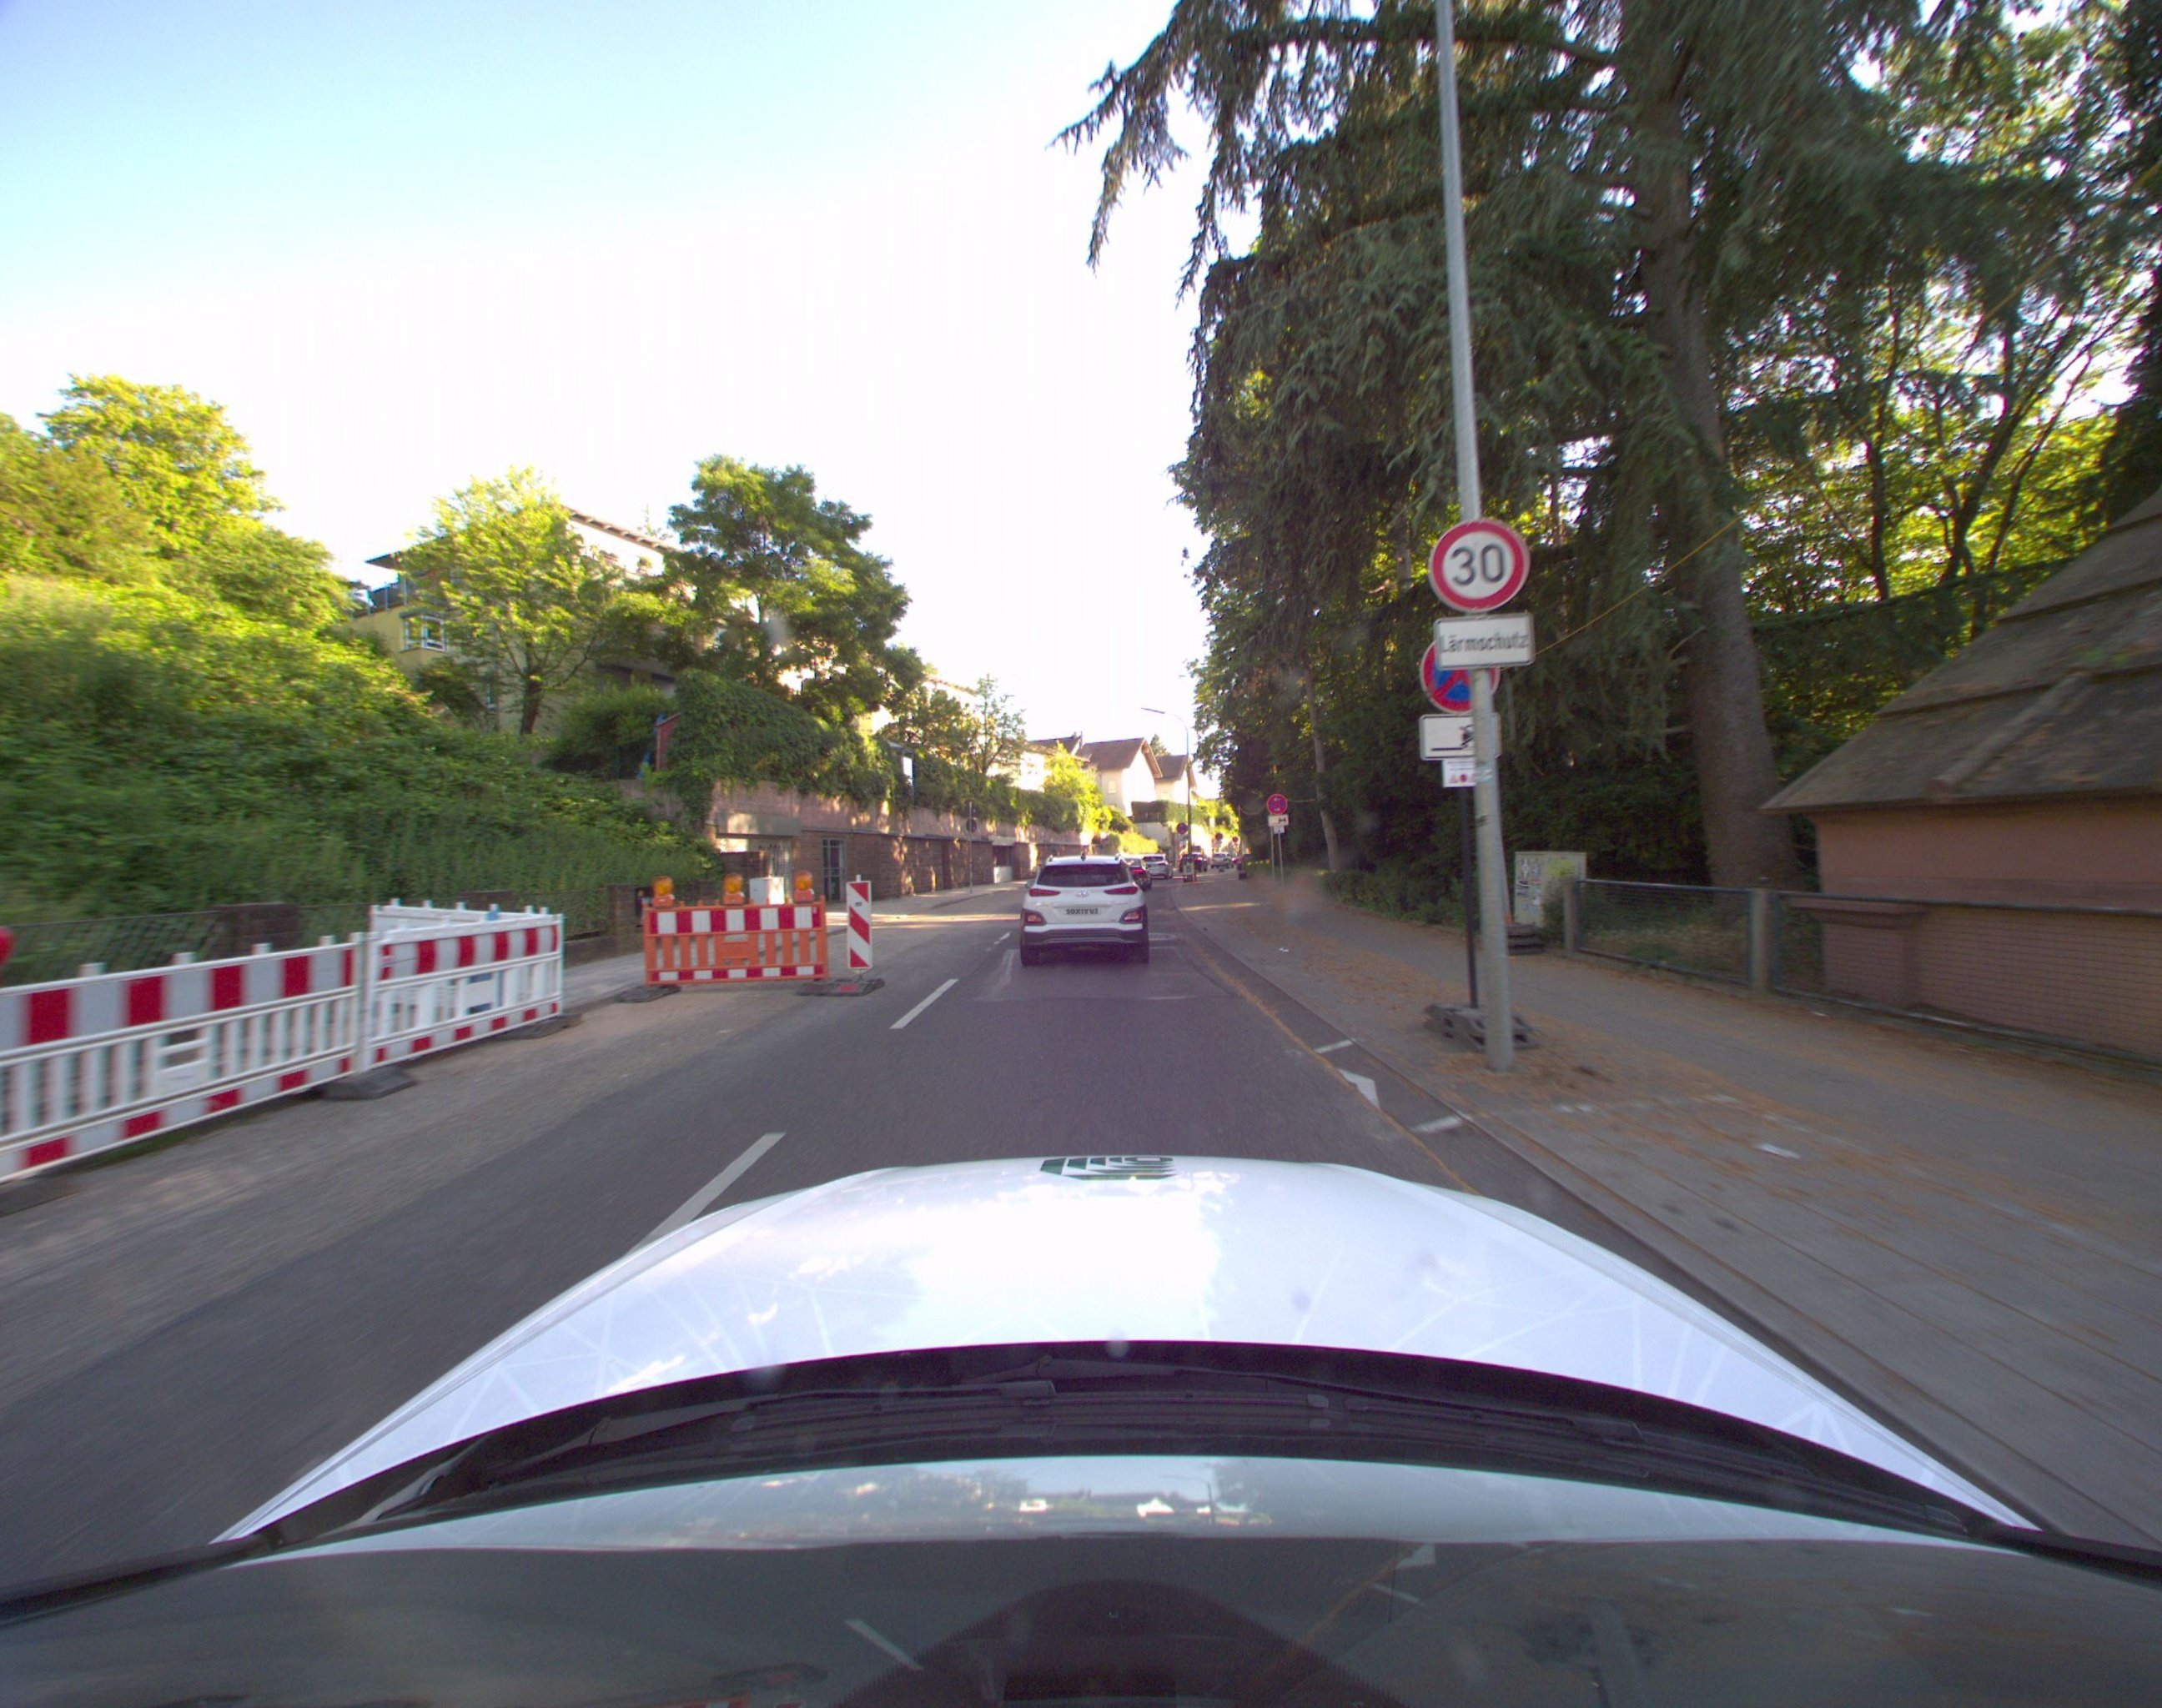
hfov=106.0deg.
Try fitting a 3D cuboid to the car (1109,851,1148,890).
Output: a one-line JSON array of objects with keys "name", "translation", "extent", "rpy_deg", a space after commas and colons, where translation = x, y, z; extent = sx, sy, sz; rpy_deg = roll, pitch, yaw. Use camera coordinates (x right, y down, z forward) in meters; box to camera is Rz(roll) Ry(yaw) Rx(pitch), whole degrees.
[{"name": "car", "translation": [2.025, 0.662, 34.816], "extent": [1.505, 1.533, 3.551], "rpy_deg": [-2, 0, 3]}]

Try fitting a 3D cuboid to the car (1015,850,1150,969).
[{"name": "car", "translation": [0.081, 0.743, 12.848], "extent": [1.765, 1.542, 4.002], "rpy_deg": [-1, 0, 2]}]

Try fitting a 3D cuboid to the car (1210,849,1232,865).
[{"name": "car", "translation": [13.990, 0.283, 81.229], "extent": [1.681, 1.447, 3.898], "rpy_deg": [-5, -1, 15]}]

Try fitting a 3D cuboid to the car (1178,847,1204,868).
[{"name": "car", "translation": [9.121, 0.288, 67.266], "extent": [1.682, 1.533, 3.895], "rpy_deg": [-6, -1, 13]}]

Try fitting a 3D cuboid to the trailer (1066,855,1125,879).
[{"name": "trailer", "translation": [1.094, 0.803, 54.925], "extent": [2.622, 1.489, 7.142], "rpy_deg": [-1, 0, 12]}]

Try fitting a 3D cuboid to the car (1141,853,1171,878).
[{"name": "car", "translation": [4.651, 0.696, 50.032], "extent": [1.561, 1.477, 3.557], "rpy_deg": [-1, 0, 9]}]

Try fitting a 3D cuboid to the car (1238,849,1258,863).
[{"name": "car", "translation": [19.840, 0.208, 96.647], "extent": [1.679, 1.504, 3.650], "rpy_deg": [-5, -1, 22]}]
